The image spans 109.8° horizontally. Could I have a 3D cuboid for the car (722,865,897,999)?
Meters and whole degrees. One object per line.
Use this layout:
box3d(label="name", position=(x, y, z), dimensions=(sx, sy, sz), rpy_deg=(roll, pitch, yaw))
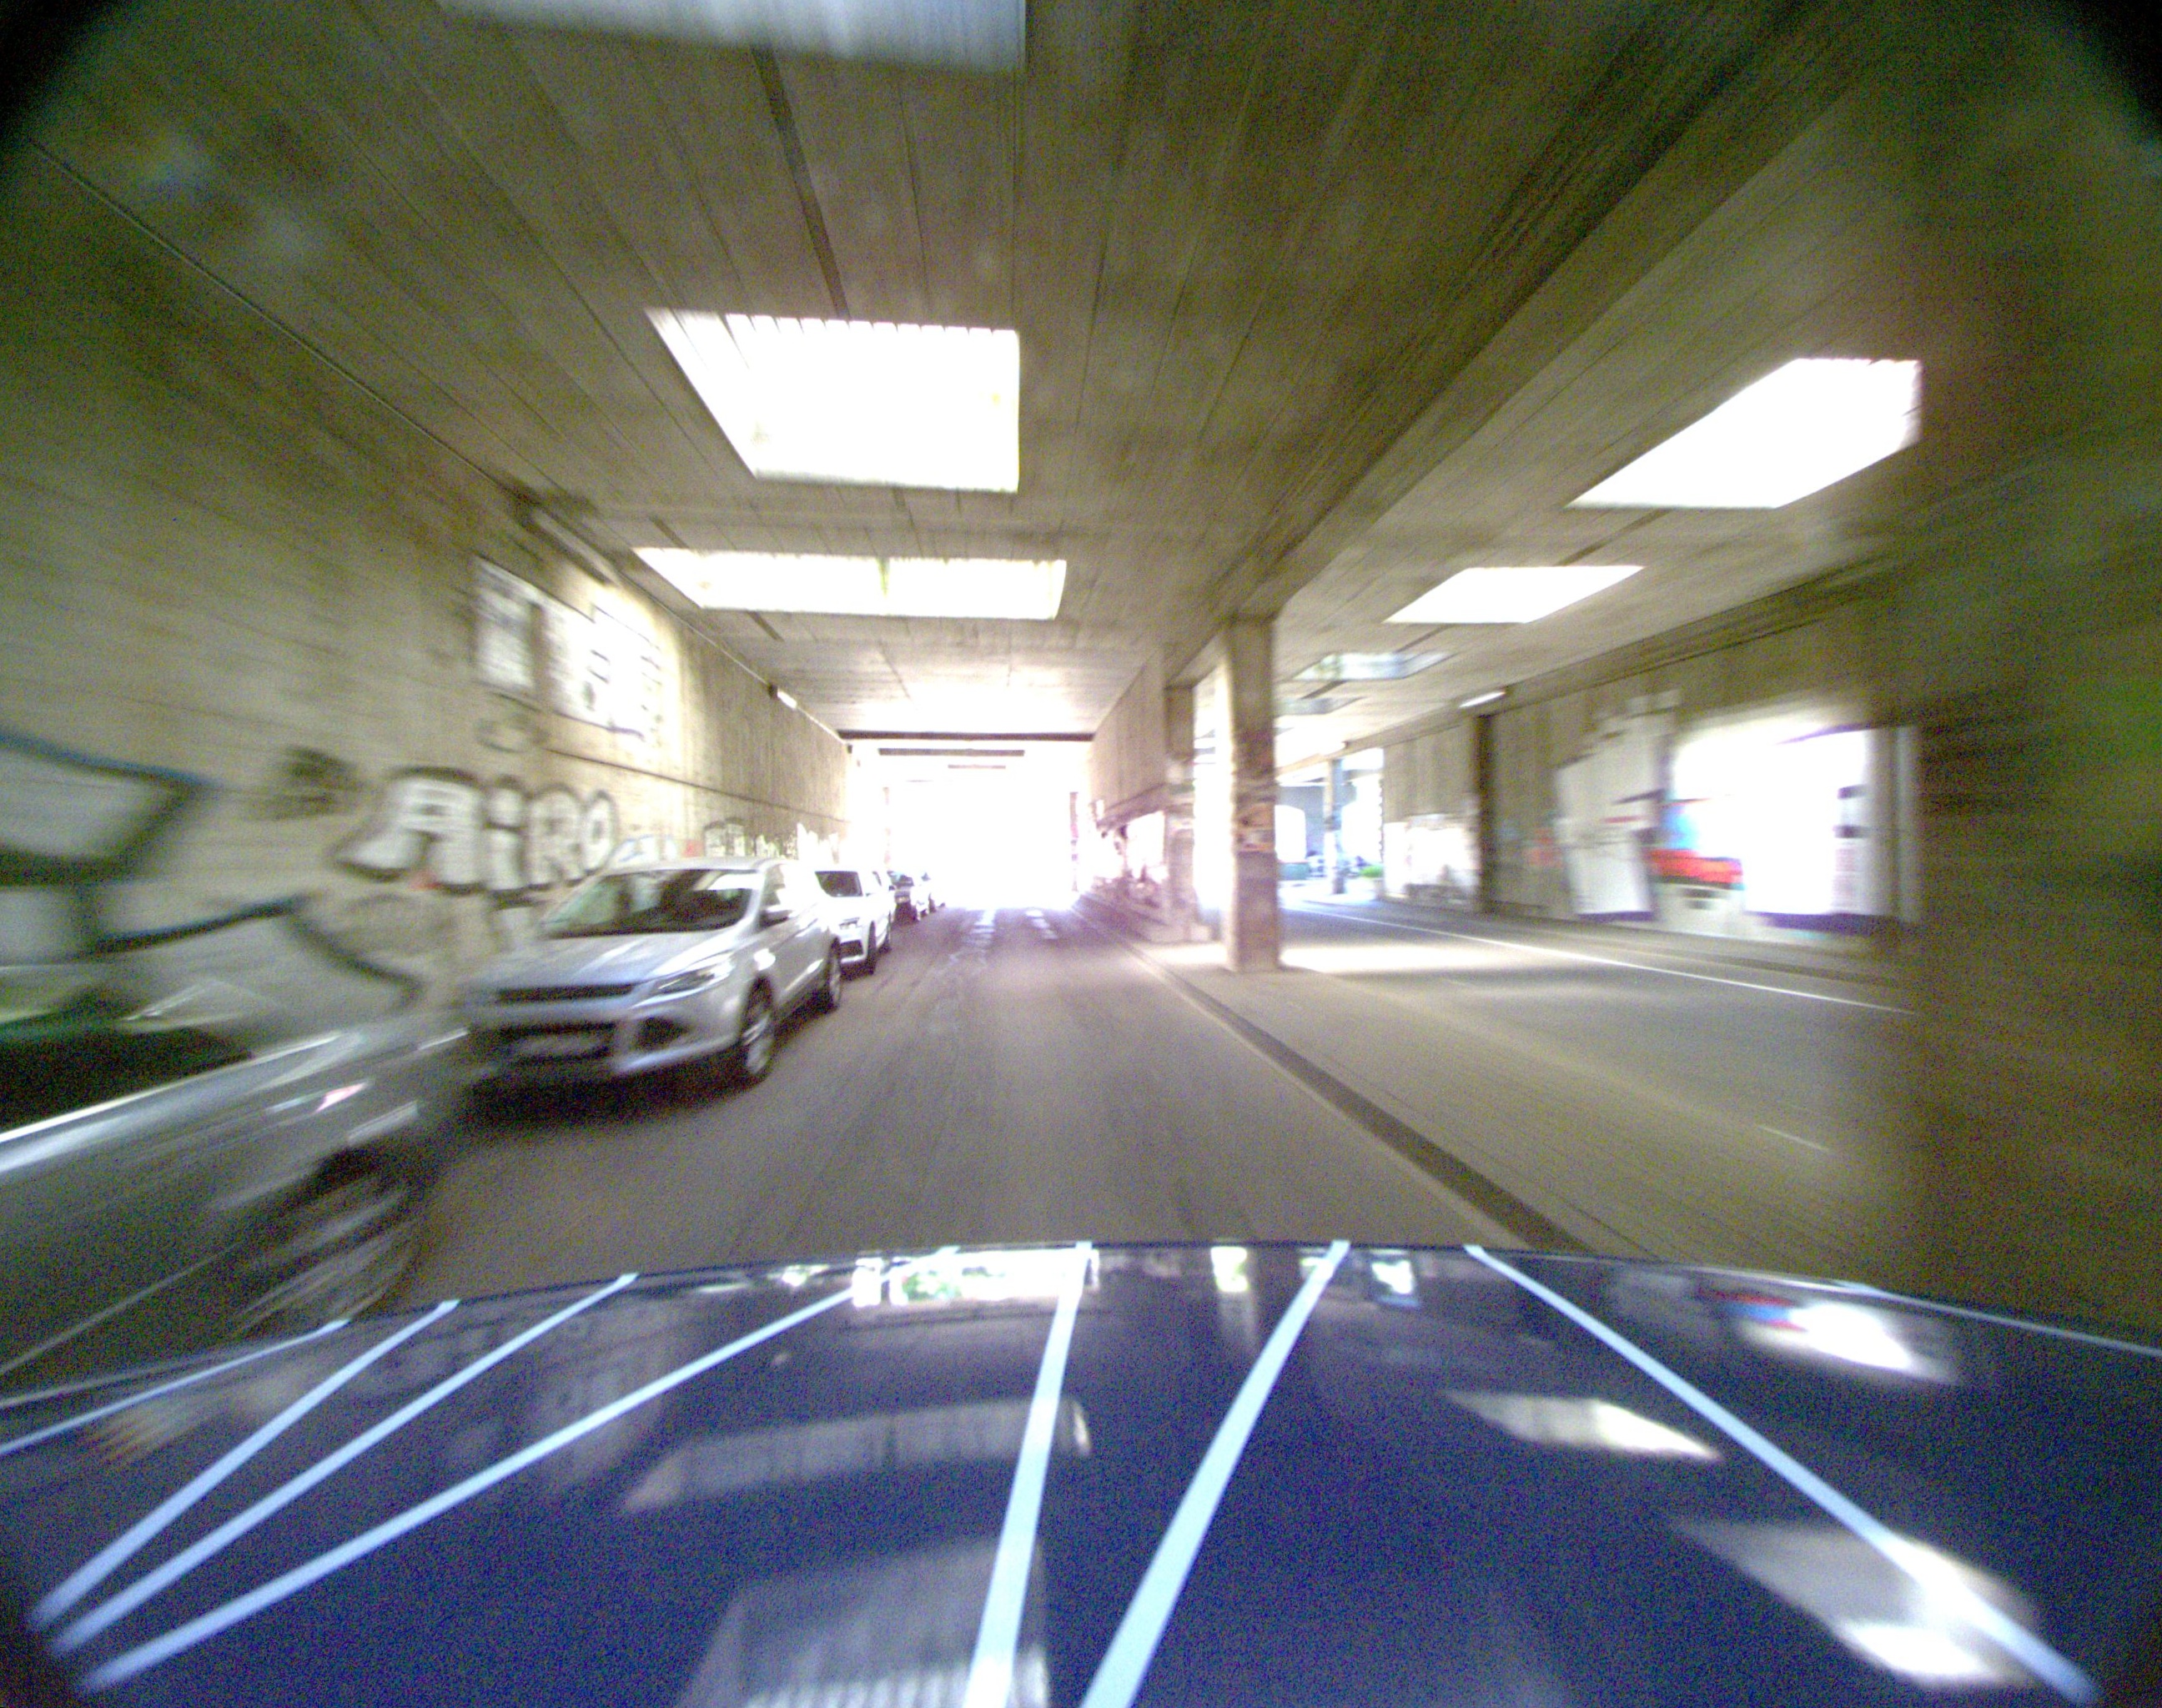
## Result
box3d(label="car", position=(-3.932, 1.019, 11.718), dimensions=(1.735, 1.537, 4.152), rpy_deg=(-1, 1, -9))

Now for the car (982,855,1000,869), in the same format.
box3d(label="car", position=(-10.850, 0.919, 91.401), dimensions=(1.696, 1.548, 3.816), rpy_deg=(-2, 1, -15))

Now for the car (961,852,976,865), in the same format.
box3d(label="car", position=(-16.797, 0.660, 113.003), dimensions=(1.778, 1.871, 3.995), rpy_deg=(-2, 1, -14))

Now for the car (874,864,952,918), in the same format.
box3d(label="car", position=(-5.574, 1.172, 25.754), dimensions=(1.856, 1.424, 4.604), rpy_deg=(-3, 1, -4))

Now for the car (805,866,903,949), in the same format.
box3d(label="car", position=(-4.874, 1.077, 16.742), dimensions=(1.609, 1.479, 3.634), rpy_deg=(-2, 1, -10))

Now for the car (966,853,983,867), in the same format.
box3d(label="car", position=(-14.933, 0.823, 106.362), dimensions=(1.778, 1.871, 3.995), rpy_deg=(-2, 0, -14))

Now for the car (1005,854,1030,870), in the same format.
box3d(label="car", position=(-6.248, 0.735, 74.559), dimensions=(1.693, 1.454, 3.994), rpy_deg=(-2, 1, -15))

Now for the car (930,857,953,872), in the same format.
box3d(label="car", position=(-14.038, 1.037, 76.353), dimensions=(1.780, 1.432, 3.995), rpy_deg=(2, -2, -16))

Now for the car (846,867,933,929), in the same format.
box3d(label="car", position=(-5.169, 1.132, 21.029), dimensions=(1.767, 1.402, 4.060), rpy_deg=(-1, 1, -7))

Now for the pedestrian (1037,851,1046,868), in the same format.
box3d(label="pedestrian", position=(-3.647, 0.488, 69.735), dimensions=(0.633, 1.567, 0.532), rpy_deg=(-1, 1, 19))

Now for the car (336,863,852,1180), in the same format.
box3d(label="car", position=(-3.351, 0.944, 6.436), dimensions=(1.858, 1.656, 4.368), rpy_deg=(-2, 0, -6))

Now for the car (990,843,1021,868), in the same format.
box3d(label="car", position=(-8.000, 0.165, 80.122), dimensions=(2.222, 2.437, 5.087), rpy_deg=(-2, 1, -17))

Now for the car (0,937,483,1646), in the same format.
box3d(label="car", position=(-3.141, 1.063, 0.900), dimensions=(1.706, 1.366, 4.371), rpy_deg=(-2, 0, -6))

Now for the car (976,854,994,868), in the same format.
box3d(label="car", position=(-12.125, 0.865, 95.636), dimensions=(1.786, 1.548, 3.816), rpy_deg=(-2, 1, -15))

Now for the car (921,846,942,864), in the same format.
box3d(label="car", position=(-17.763, 0.172, 89.899), dimensions=(1.998, 2.017, 4.298), rpy_deg=(-2, -1, -16))
